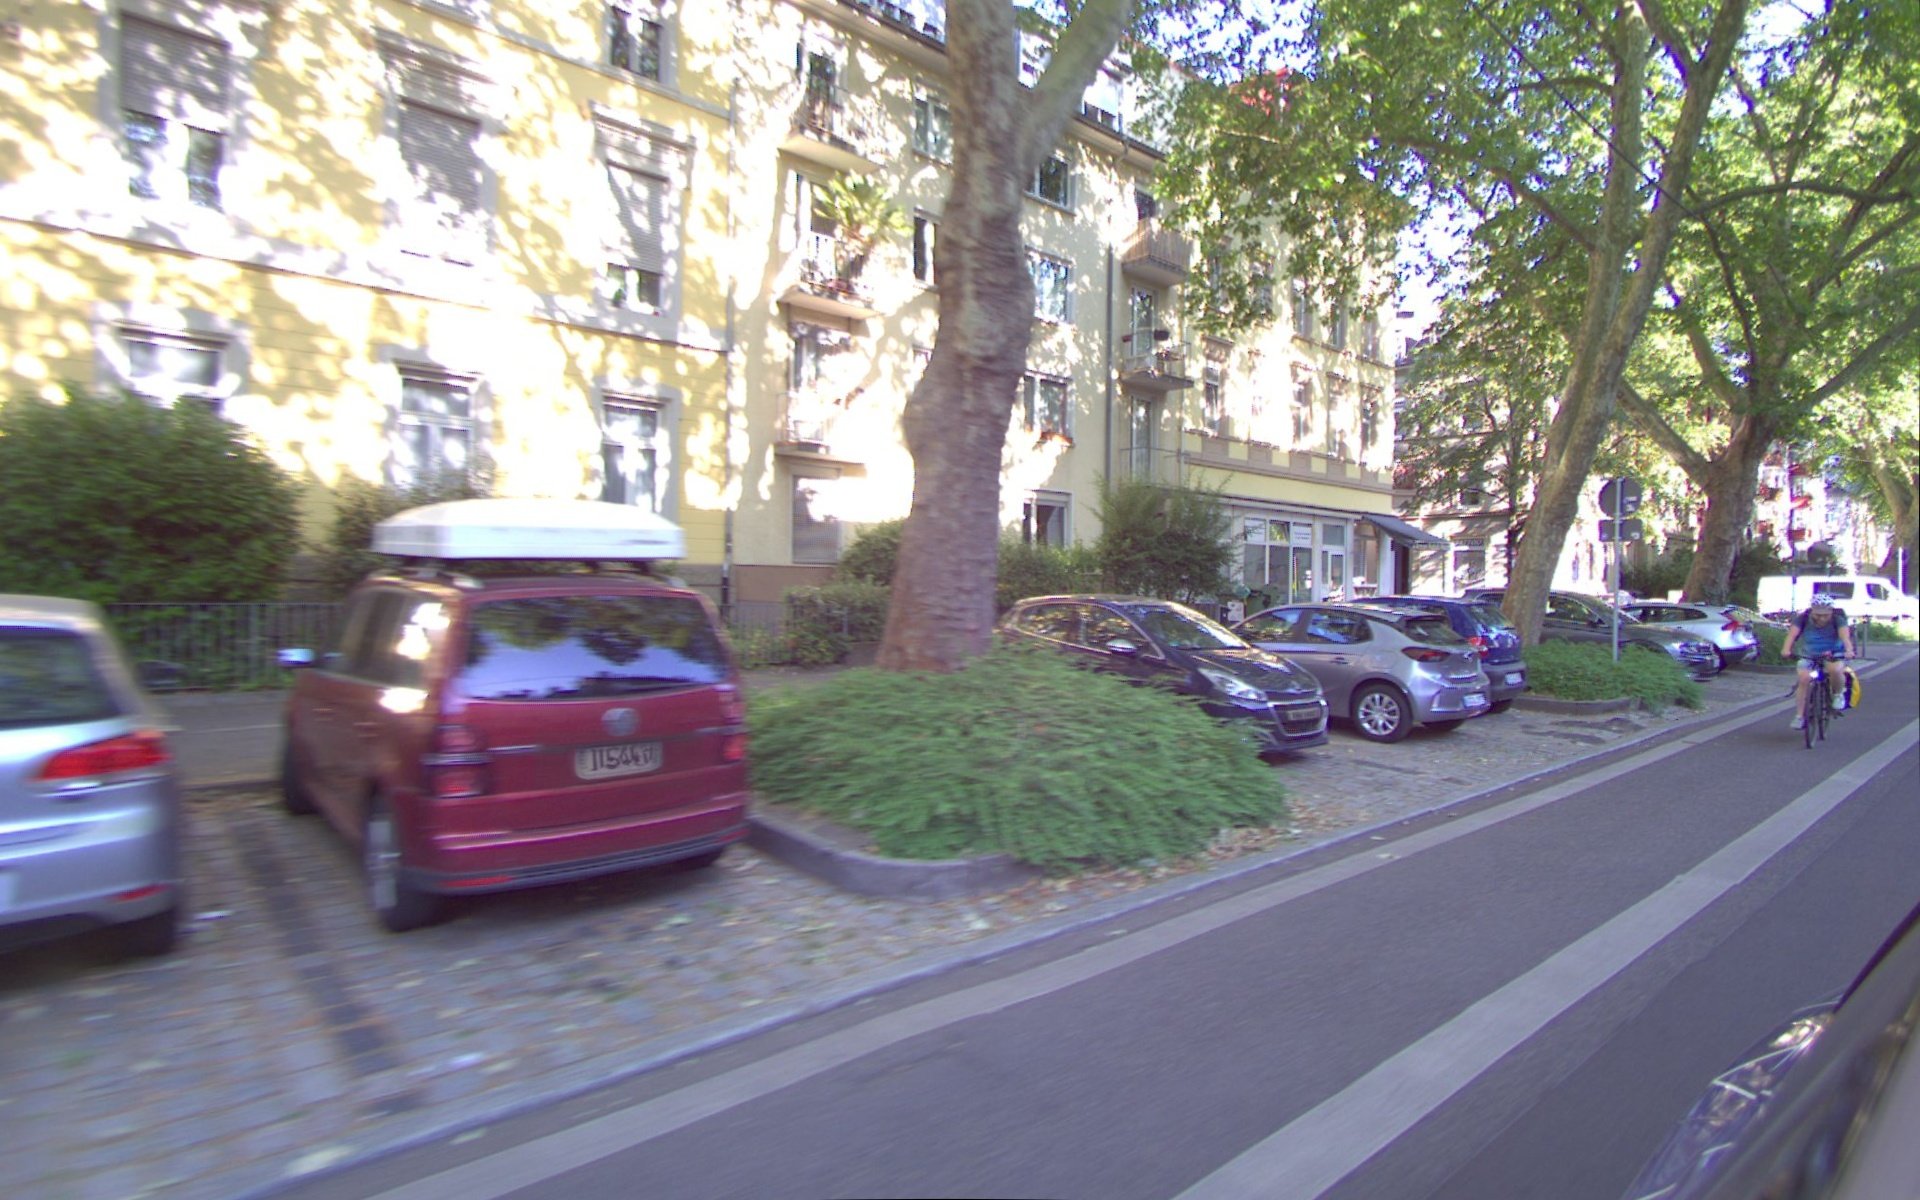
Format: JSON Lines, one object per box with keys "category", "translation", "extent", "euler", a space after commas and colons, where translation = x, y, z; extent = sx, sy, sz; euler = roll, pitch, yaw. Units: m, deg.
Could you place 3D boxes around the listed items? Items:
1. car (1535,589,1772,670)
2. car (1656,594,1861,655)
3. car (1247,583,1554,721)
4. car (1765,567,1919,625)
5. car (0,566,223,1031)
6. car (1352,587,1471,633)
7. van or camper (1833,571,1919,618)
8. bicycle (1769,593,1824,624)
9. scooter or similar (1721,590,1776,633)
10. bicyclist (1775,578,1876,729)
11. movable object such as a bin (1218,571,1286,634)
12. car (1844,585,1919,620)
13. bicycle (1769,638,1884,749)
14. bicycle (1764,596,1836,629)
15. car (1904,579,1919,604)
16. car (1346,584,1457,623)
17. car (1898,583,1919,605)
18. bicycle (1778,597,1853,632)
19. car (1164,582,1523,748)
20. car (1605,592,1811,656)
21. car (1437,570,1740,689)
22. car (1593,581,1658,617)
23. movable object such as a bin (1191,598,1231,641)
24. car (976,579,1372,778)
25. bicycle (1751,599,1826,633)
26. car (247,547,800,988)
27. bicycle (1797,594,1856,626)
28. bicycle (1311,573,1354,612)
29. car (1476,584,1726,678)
{"category": "car", "translation": [14.976, 0.565, 21.988], "extent": [4.028, 1.498, 1.655], "euler": [2, 2, 44]}
{"category": "car", "translation": [22.048, 0.612, 28.095], "extent": [1.795, 1.510, 4.112], "euler": [0, 1, -33]}
{"category": "car", "translation": [5.946, 0.588, 13.973], "extent": [1.514, 1.619, 3.602], "euler": [-1, 2, -40]}
{"category": "car", "translation": [37.777, -0.210, 42.459], "extent": [1.970, 2.311, 6.005], "euler": [1, 1, -39]}
{"category": "car", "translation": [-4.678, 0.628, 4.634], "extent": [1.641, 1.549, 3.738], "euler": [0, 2, -43]}
{"category": "car", "translation": [17.981, 0.364, 40.446], "extent": [1.820, 1.617, 3.999], "euler": [-3, 3, -37]}
{"category": "van or camper", "translation": [51.279, -0.312, 54.661], "extent": [2.071, 2.522, 6.042], "euler": [0, 1, -42]}
{"category": "bicycle", "translation": [34.264, 0.331, 41.488], "extent": [0.405, 1.193, 2.051], "euler": [-1, 1, -4]}
{"category": "scooter or similar", "translation": [24.239, 0.339, 31.112], "extent": [0.334, 1.271, 1.313], "euler": [0, 1, -28]}
{"category": "bicyclist", "translation": [9.493, 0.571, 11.098], "extent": [0.919, 1.573, 0.615], "euler": [0, -4, -41]}
{"category": "movable object such as a bin", "translation": [7.165, 0.047, 24.845], "extent": [1.098, 1.455, 1.169], "euler": [0, 2, -41]}
{"category": "car", "translation": [46.586, 0.097, 50.249], "extent": [1.767, 1.676, 3.958], "euler": [-1, 2, -44]}
{"category": "bicycle", "translation": [9.474, 0.963, 11.026], "extent": [2.468, 1.017, 0.596], "euler": [0, -2, -42]}
{"category": "bicycle", "translation": [31.116, 0.446, 37.519], "extent": [0.405, 1.193, 2.050], "euler": [-1, 1, -32]}
{"category": "car", "translation": [68.972, -0.601, 70.937], "extent": [1.774, 1.767, 4.000], "euler": [0, 1, -41]}
{"category": "car", "translation": [17.469, 0.132, 40.123], "extent": [1.664, 1.430, 3.678], "euler": [3, -1, -45]}
{"category": "car", "translation": [67.245, -0.388, 69.825], "extent": [1.632, 1.514, 3.613], "euler": [0, 1, -43]}
{"category": "bicycle", "translation": [31.049, 0.503, 36.752], "extent": [0.405, 1.193, 2.050], "euler": [-1, 1, -32]}
{"category": "car", "translation": [4.389, 0.617, 11.967], "extent": [1.664, 1.536, 3.602], "euler": [0, 3, -41]}
{"category": "car", "translation": [19.729, 0.573, 26.850], "extent": [1.650, 1.510, 4.109], "euler": [0, 1, -36]}
{"category": "car", "translation": [11.191, 0.419, 18.246], "extent": [1.818, 1.739, 4.268], "euler": [0, 3, -43]}
{"category": "car", "translation": [29.469, -0.081, 44.790], "extent": [1.734, 1.473, 3.513], "euler": [3, 3, 45]}
{"category": "movable object such as a bin", "translation": [5.821, 0.436, 23.470], "extent": [0.457, 0.955, 0.749], "euler": [0, 2, -41]}
{"category": "car", "translation": [2.018, 0.617, 10.324], "extent": [1.664, 1.542, 3.678], "euler": [0, 3, -41]}
{"category": "bicycle", "translation": [29.834, 0.562, 36.478], "extent": [0.405, 1.193, 2.050], "euler": [-1, 1, -32]}
{"category": "car", "translation": [-2.739, 0.550, 5.869], "extent": [1.738, 1.669, 3.823], "euler": [-2, 4, -43]}
{"category": "bicycle", "translation": [33.781, 0.360, 39.482], "extent": [0.405, 1.193, 2.051], "euler": [-1, 1, -4]}
{"category": "bicycle", "translation": [11.745, -0.233, 31.906], "extent": [1.715, 1.170, 0.470], "euler": [1, 2, -42]}
{"category": "car", "translation": [13.038, 0.543, 20.755], "extent": [1.653, 1.664, 4.033], "euler": [0, 2, -43]}
